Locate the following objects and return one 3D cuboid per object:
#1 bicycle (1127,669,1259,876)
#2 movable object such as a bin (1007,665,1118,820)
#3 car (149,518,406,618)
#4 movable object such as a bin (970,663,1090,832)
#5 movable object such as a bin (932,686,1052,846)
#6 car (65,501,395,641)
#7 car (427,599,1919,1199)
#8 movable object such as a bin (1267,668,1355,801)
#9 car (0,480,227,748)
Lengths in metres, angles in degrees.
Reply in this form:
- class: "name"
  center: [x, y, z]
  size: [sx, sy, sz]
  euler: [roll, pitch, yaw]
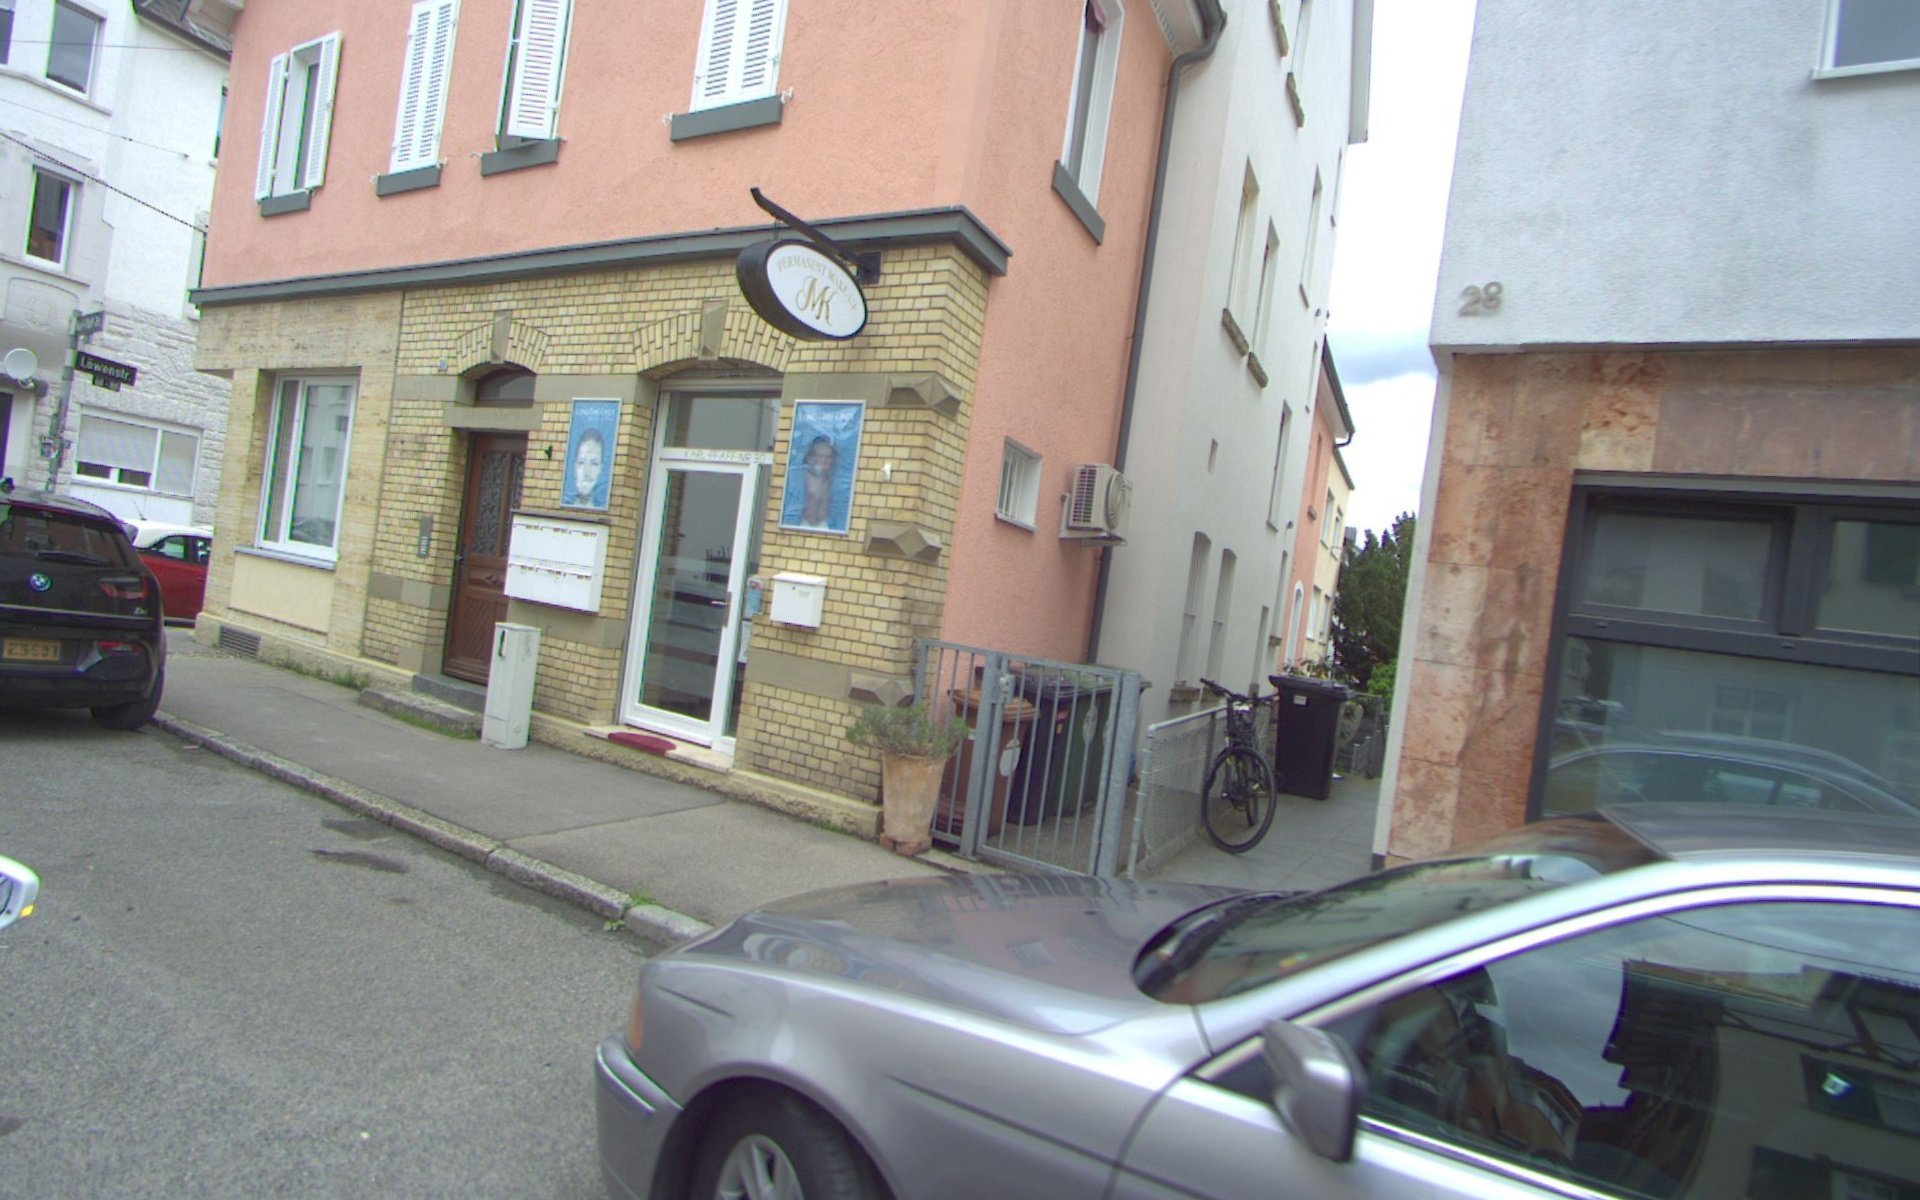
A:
- class: "bicycle"
  center: [1.582, 1.117, 6.725]
  size: [0.290, 1.233, 1.199]
  euler: [8, 0, 34]
- class: "movable object such as a bin"
  center: [0.799, 1.078, 7.804]
  size: [0.594, 1.074, 0.504]
  euler: [8, 2, 27]
- class: "car"
  center: [-14.613, -0.608, 21.839]
  size: [1.674, 1.429, 4.244]
  euler: [8, -3, 24]
- class: "movable object such as a bin"
  center: [0.507, 1.033, 7.231]
  size: [0.594, 1.074, 0.504]
  euler: [8, 2, 27]
- class: "movable object such as a bin"
  center: [0.219, 1.085, 6.737]
  size: [0.537, 0.936, 0.504]
  euler: [8, 2, 27]
- class: "car"
  center: [-10.986, -0.352, 15.433]
  size: [1.643, 1.495, 3.629]
  euler: [8, -3, 24]
- class: "car"
  center: [1.301, 1.028, 1.764]
  size: [4.502, 1.432, 1.792]
  euler: [6, -4, 31]
- class: "movable object such as a bin"
  center: [3.203, 1.205, 9.176]
  size: [0.538, 1.092, 0.504]
  euler: [8, 2, 32]
- class: "car"
  center: [-7.234, -0.106, 7.000]
  size: [3.958, 1.560, 1.823]
  euler: [7, -2, 29]
